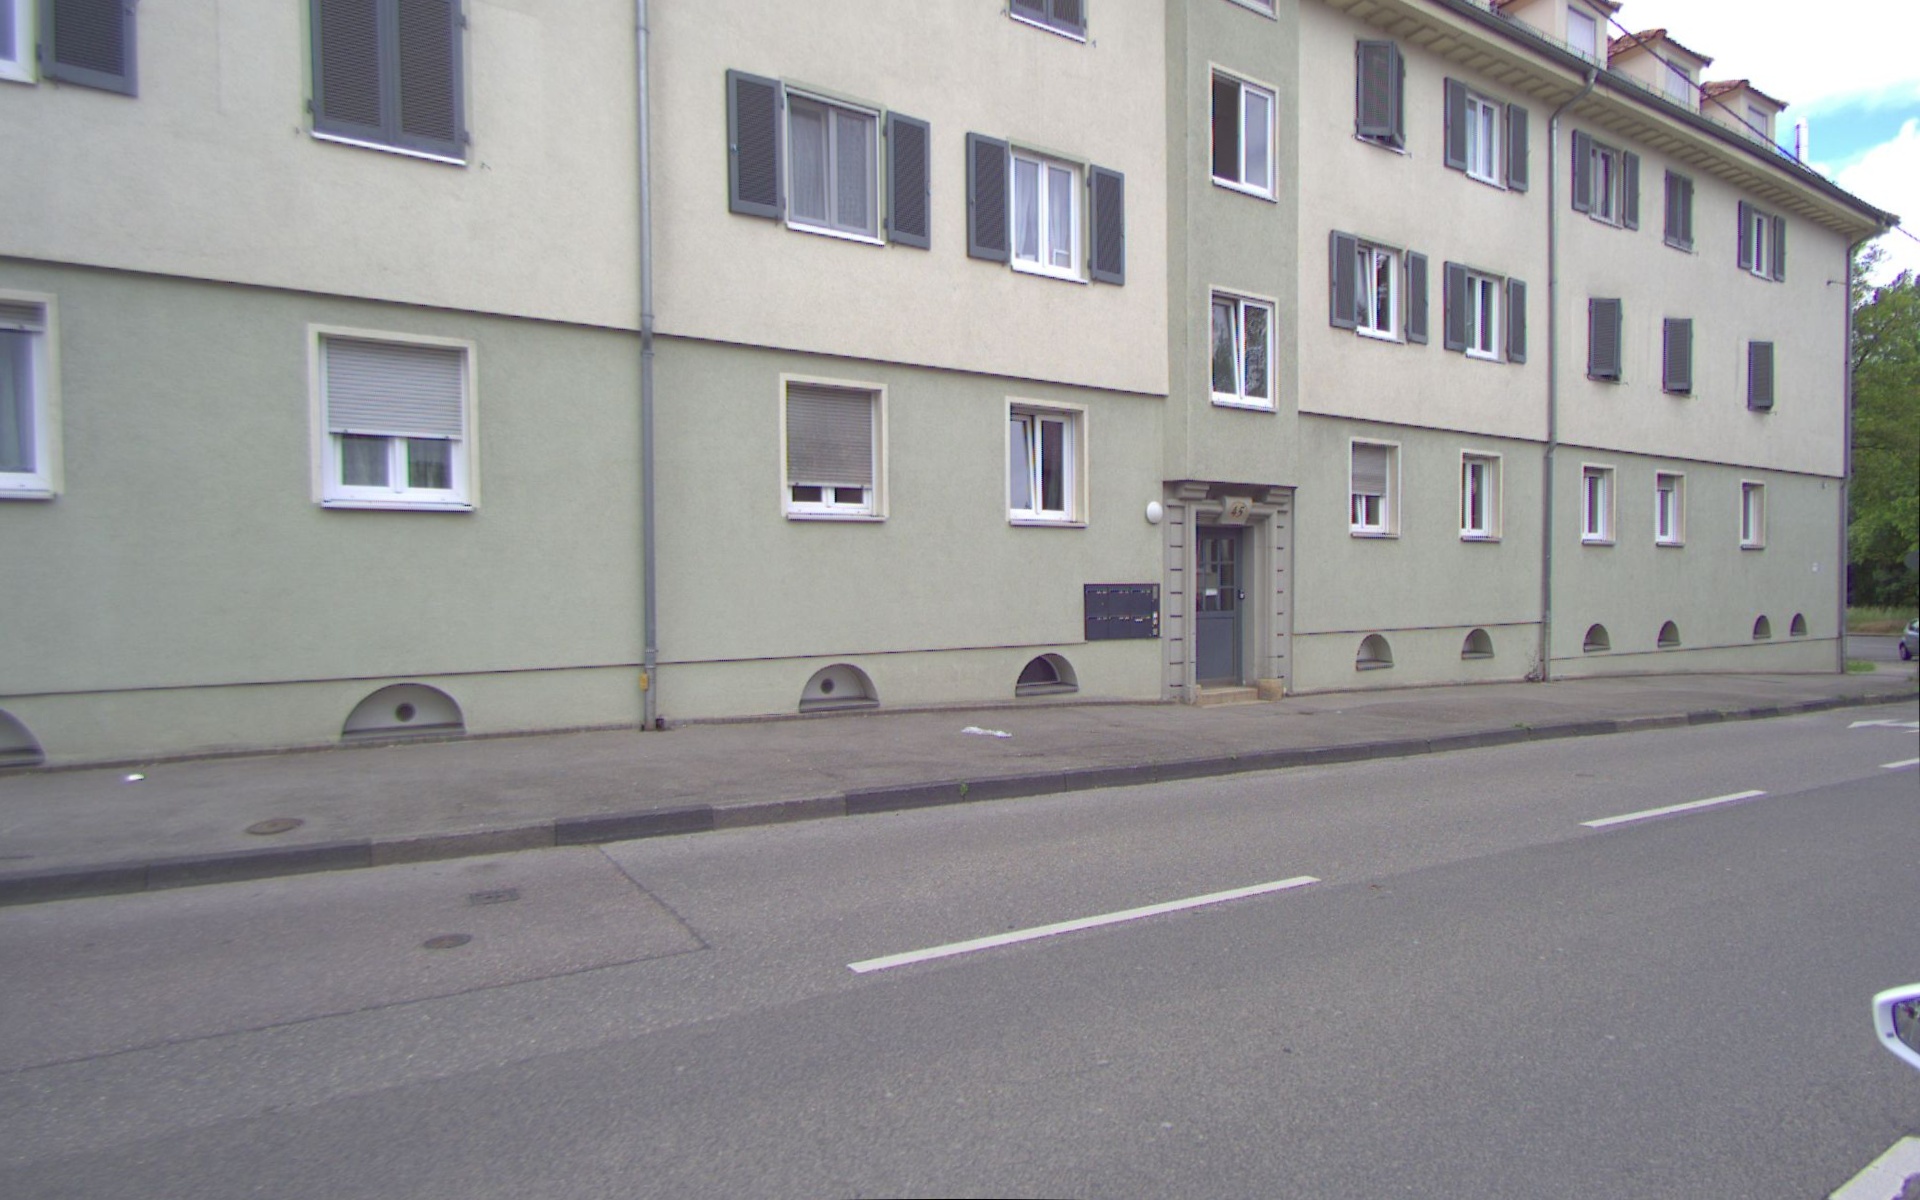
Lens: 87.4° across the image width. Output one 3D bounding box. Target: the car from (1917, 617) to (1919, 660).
[{"bbox_3d":[36.511,1.431,36.838,1.702,1.626,3.959,-1,-2,39],"label":"car"}]
